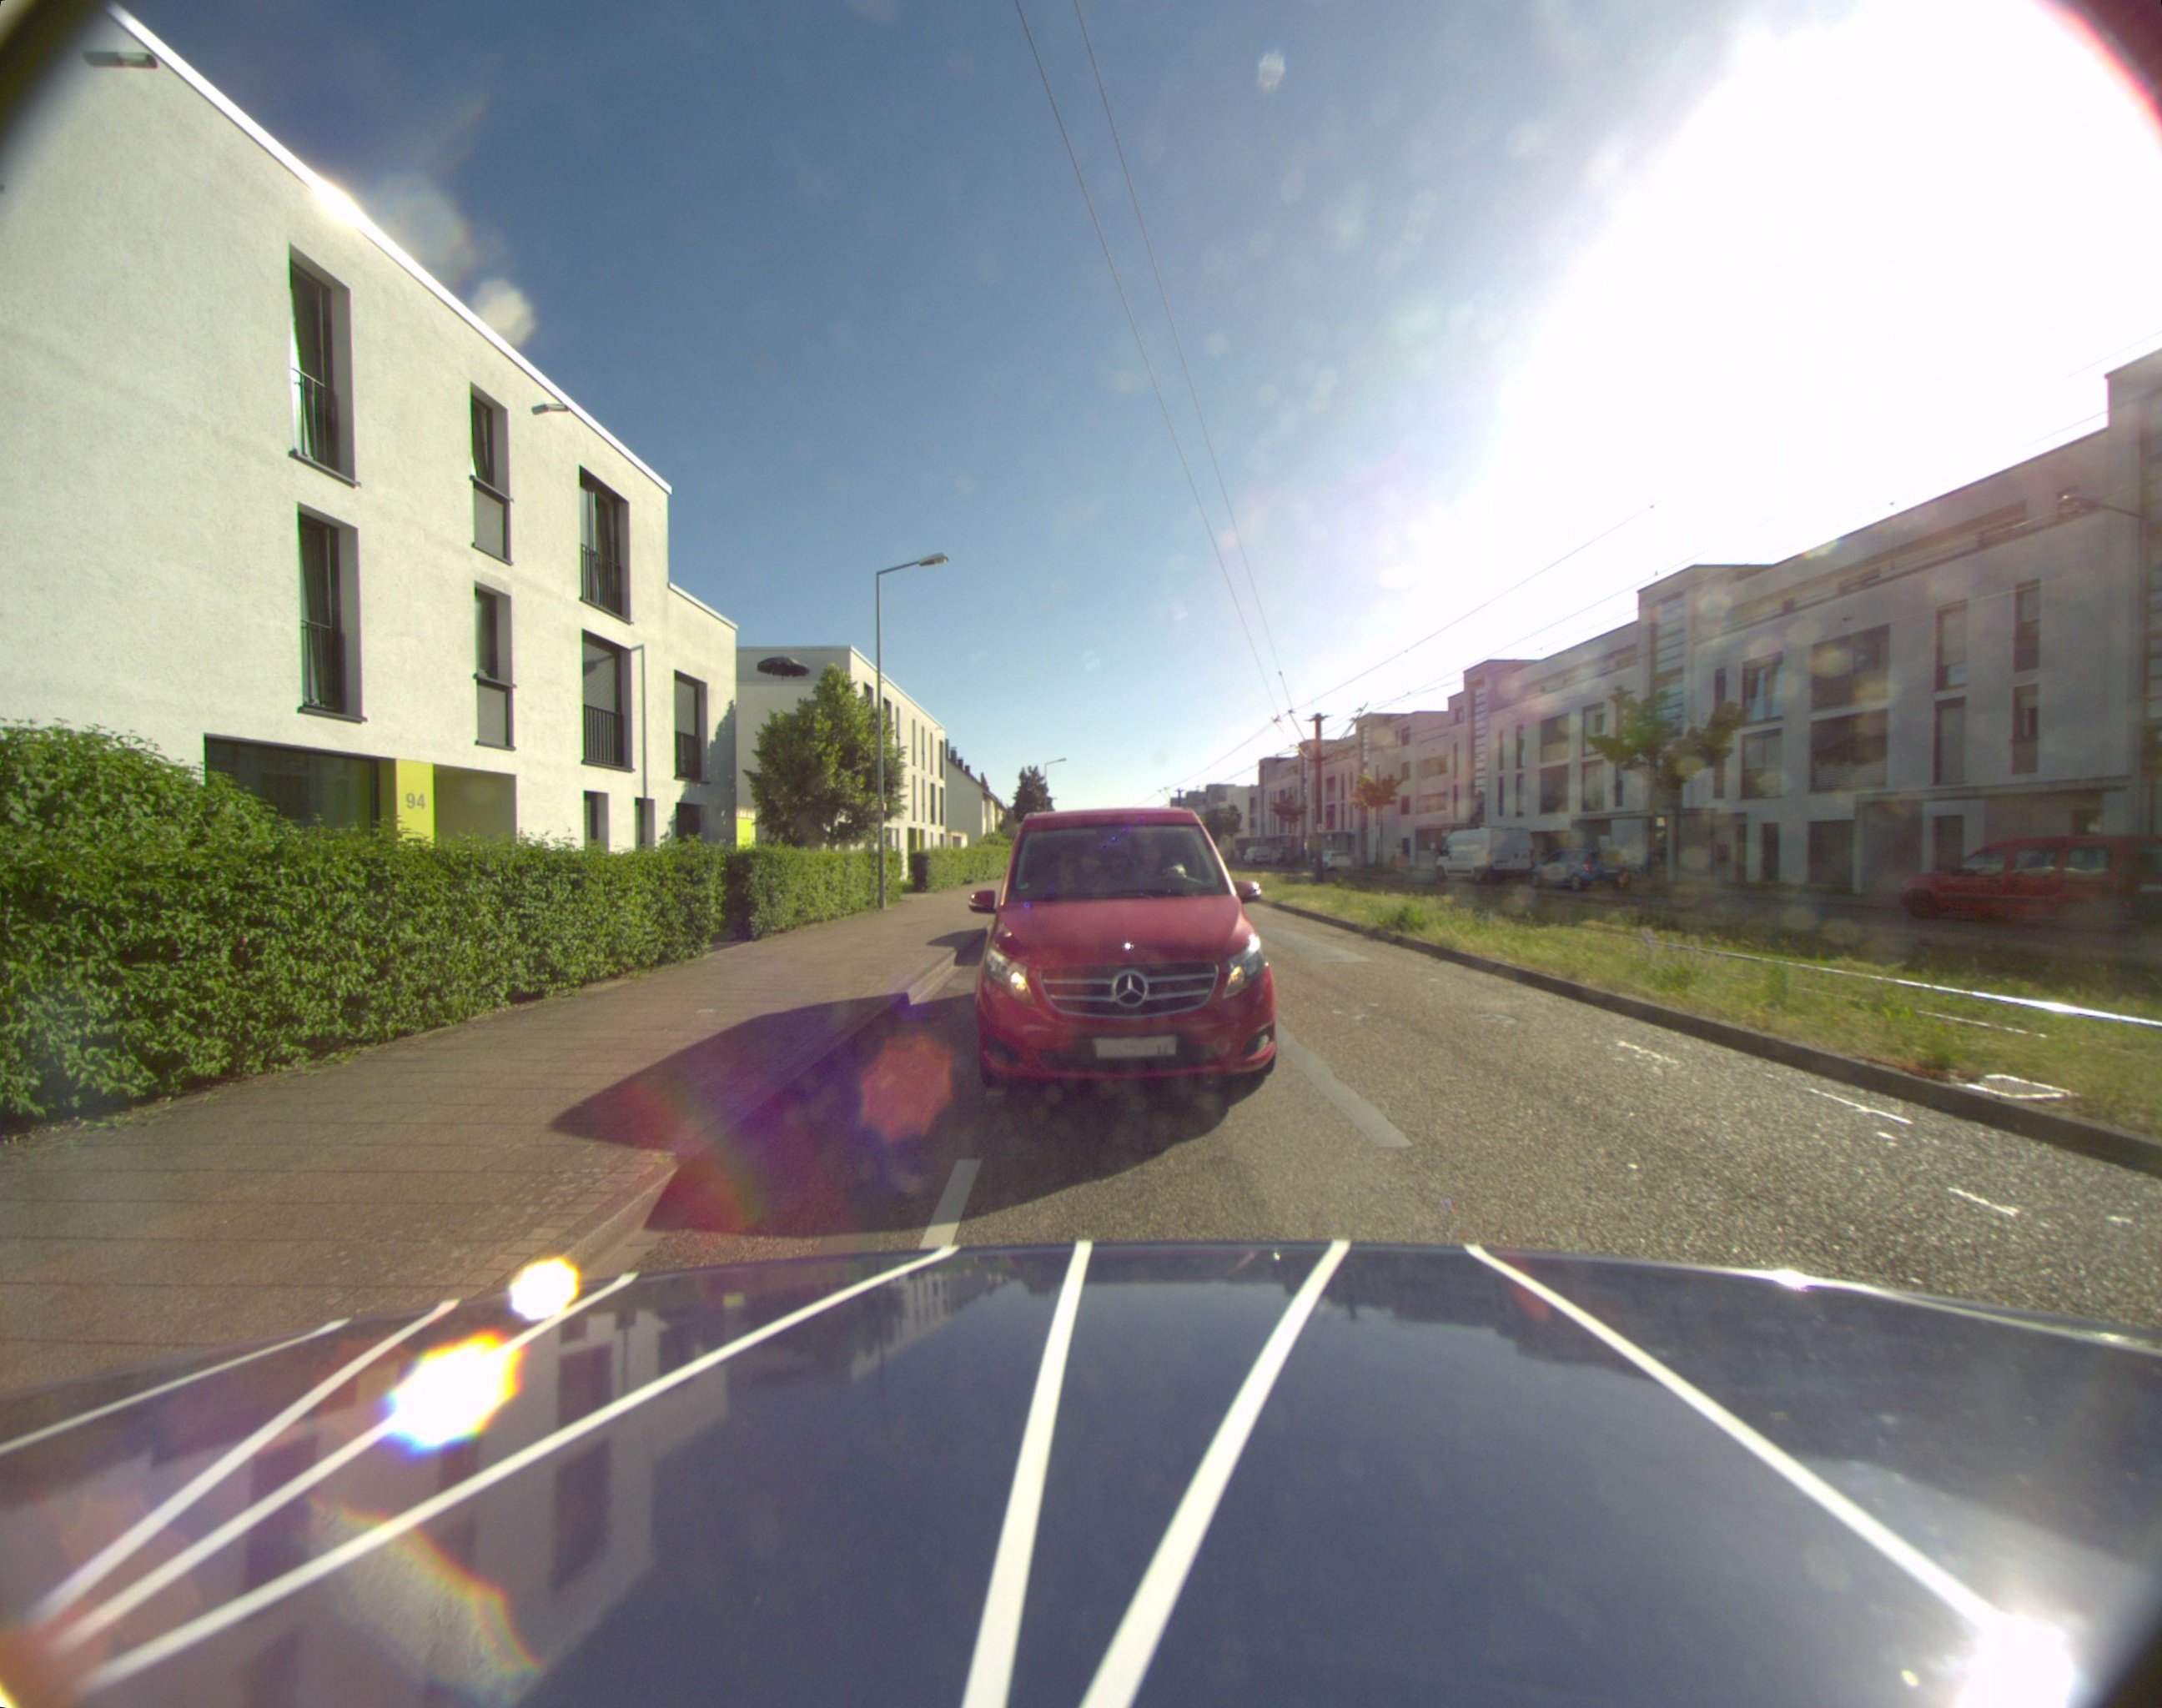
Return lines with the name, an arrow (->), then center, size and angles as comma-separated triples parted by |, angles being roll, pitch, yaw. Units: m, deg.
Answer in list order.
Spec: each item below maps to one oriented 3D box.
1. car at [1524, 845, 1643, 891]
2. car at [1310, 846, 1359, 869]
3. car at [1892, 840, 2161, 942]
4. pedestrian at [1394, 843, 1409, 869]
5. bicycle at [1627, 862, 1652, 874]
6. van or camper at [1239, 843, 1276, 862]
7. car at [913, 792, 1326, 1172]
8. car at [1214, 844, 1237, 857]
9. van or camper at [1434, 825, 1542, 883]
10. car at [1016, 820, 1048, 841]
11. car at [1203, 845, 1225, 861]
car -> 18.662, 0.458, 28.436 | 1.934, 1.604, 3.836 | 0, 1, 1
car -> 18.533, 0.221, 55.769 | 2.047, 1.577, 4.120 | 0, 1, -2
car -> 18.686, 0.604, 14.715 | 1.793, 1.713, 3.908 | 1, 1, 2
pedestrian -> 20.921, 0.132, 49.576 | 0.619, 1.634, 0.612 | -2, 1, -6
bicycle -> 25.475, 0.631, 34.652 | 0.354, 0.495, 1.061 | 0, 0, 0
van or camper -> 17.842, -0.161, 77.267 | 2.273, 1.838, 6.284 | -1, 1, 0
car -> 0.272, 0.673, 6.577 | 2.127, 1.958, 5.084 | -2, 0, 2
car -> 16.814, -0.405, 88.720 | 1.867, 1.430, 3.496 | -2, 1, -3
van or camper -> 18.656, -0.030, 35.184 | 2.197, 2.451, 5.259 | 0, 1, 0
car -> -5.783, -2.765, 90.808 | 3.182, 2.333, 6.175 | -2, 1, 2
car -> 16.724, -0.150, 95.826 | 1.787, 2.002, 3.998 | -2, 1, -3
